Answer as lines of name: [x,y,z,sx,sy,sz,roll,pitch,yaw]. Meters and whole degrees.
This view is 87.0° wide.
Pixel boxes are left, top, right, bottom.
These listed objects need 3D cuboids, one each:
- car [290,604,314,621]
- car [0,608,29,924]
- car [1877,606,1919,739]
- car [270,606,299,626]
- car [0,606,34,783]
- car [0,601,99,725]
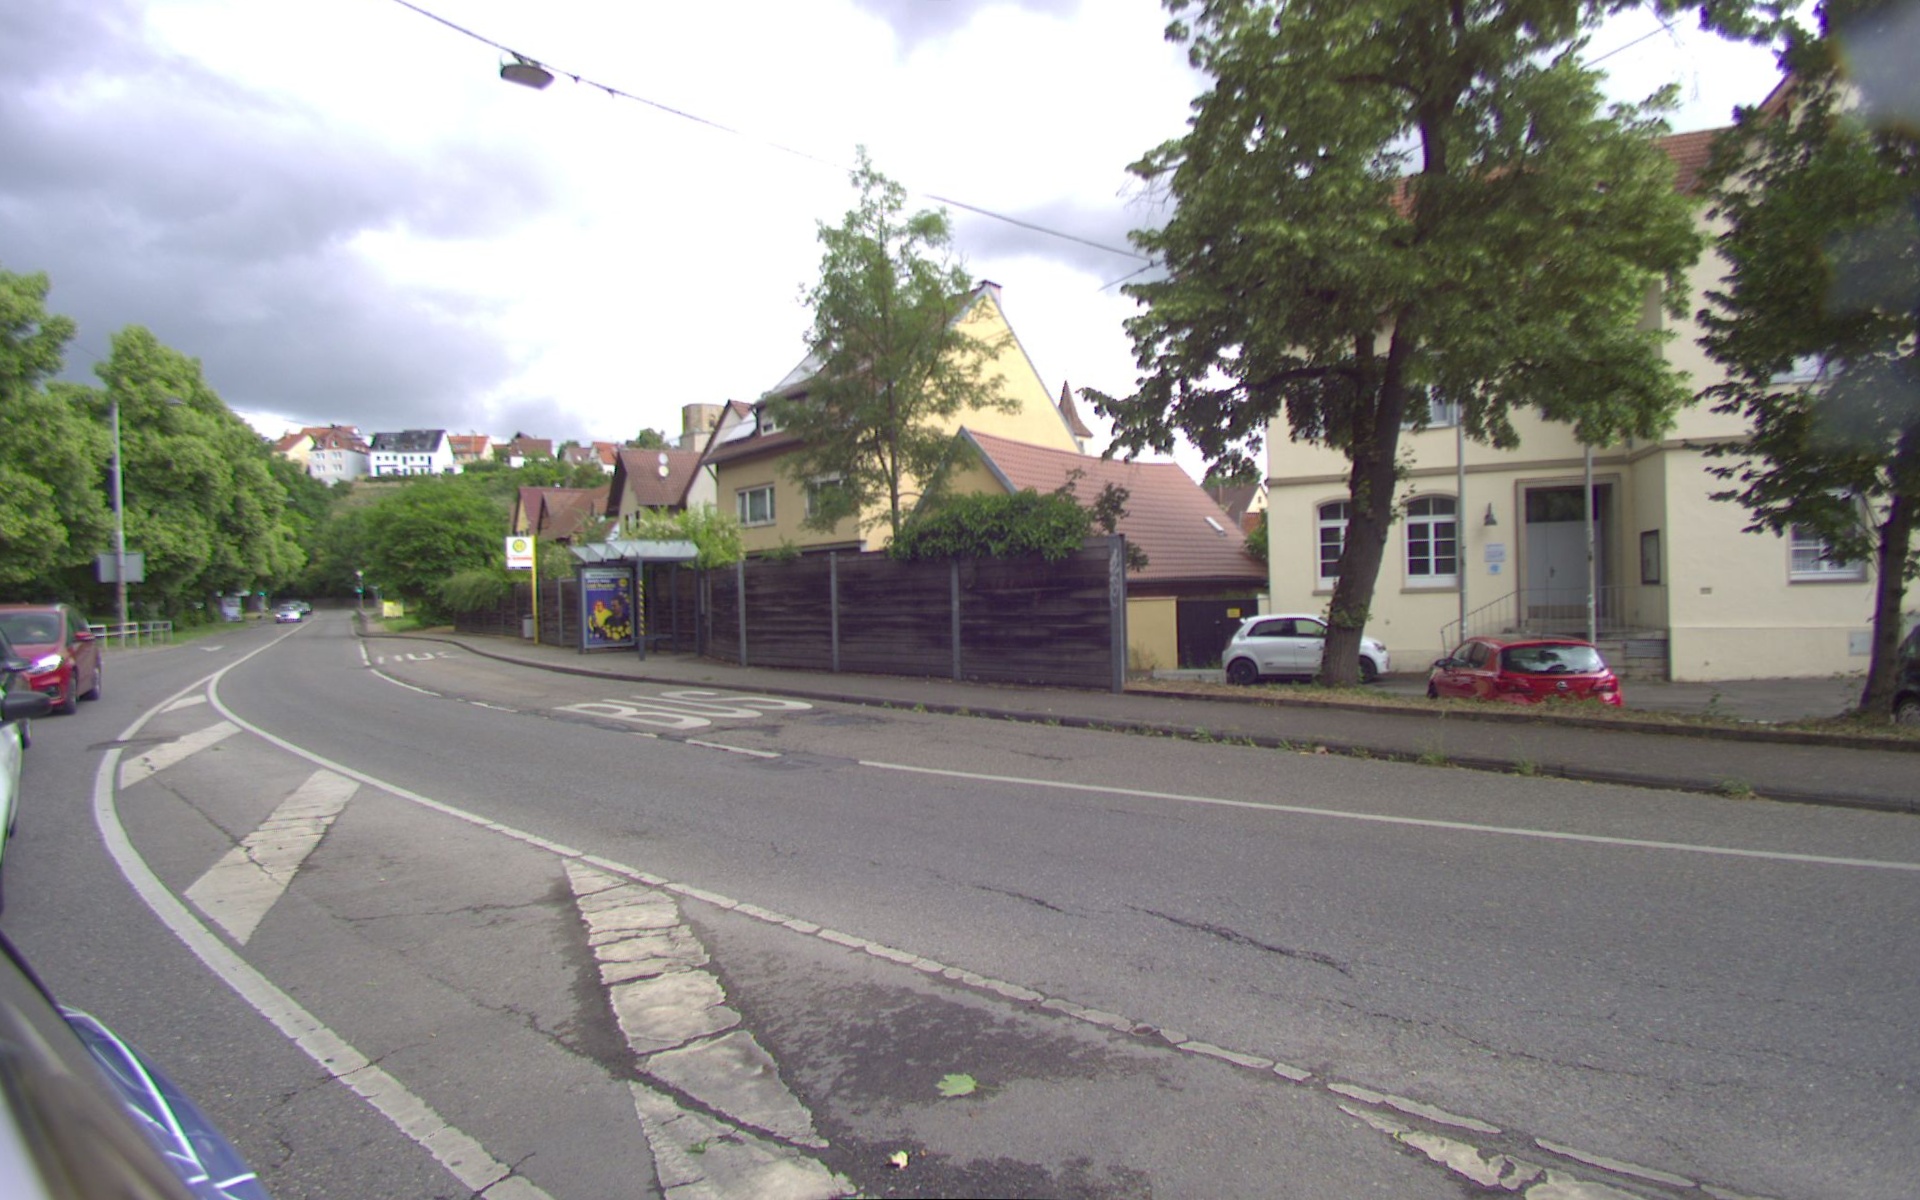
car: [-74.854,1.432,115.096,1.882,1.768,4.008,-2,1,-38]
car: [-6.038,0.826,5.284,1.594,1.525,3.610,-1,0,-41]
car: [12.692,0.898,11.594,1.586,1.644,3.093,-1,0,2]
car: [-57.485,1.338,86.121,1.817,1.652,4.009,-1,0,-37]
car: [-10.251,0.865,9.846,1.699,1.559,3.787,-1,0,-41]
car: [-14.517,0.891,15.446,1.800,1.685,4.067,-1,0,-37]
